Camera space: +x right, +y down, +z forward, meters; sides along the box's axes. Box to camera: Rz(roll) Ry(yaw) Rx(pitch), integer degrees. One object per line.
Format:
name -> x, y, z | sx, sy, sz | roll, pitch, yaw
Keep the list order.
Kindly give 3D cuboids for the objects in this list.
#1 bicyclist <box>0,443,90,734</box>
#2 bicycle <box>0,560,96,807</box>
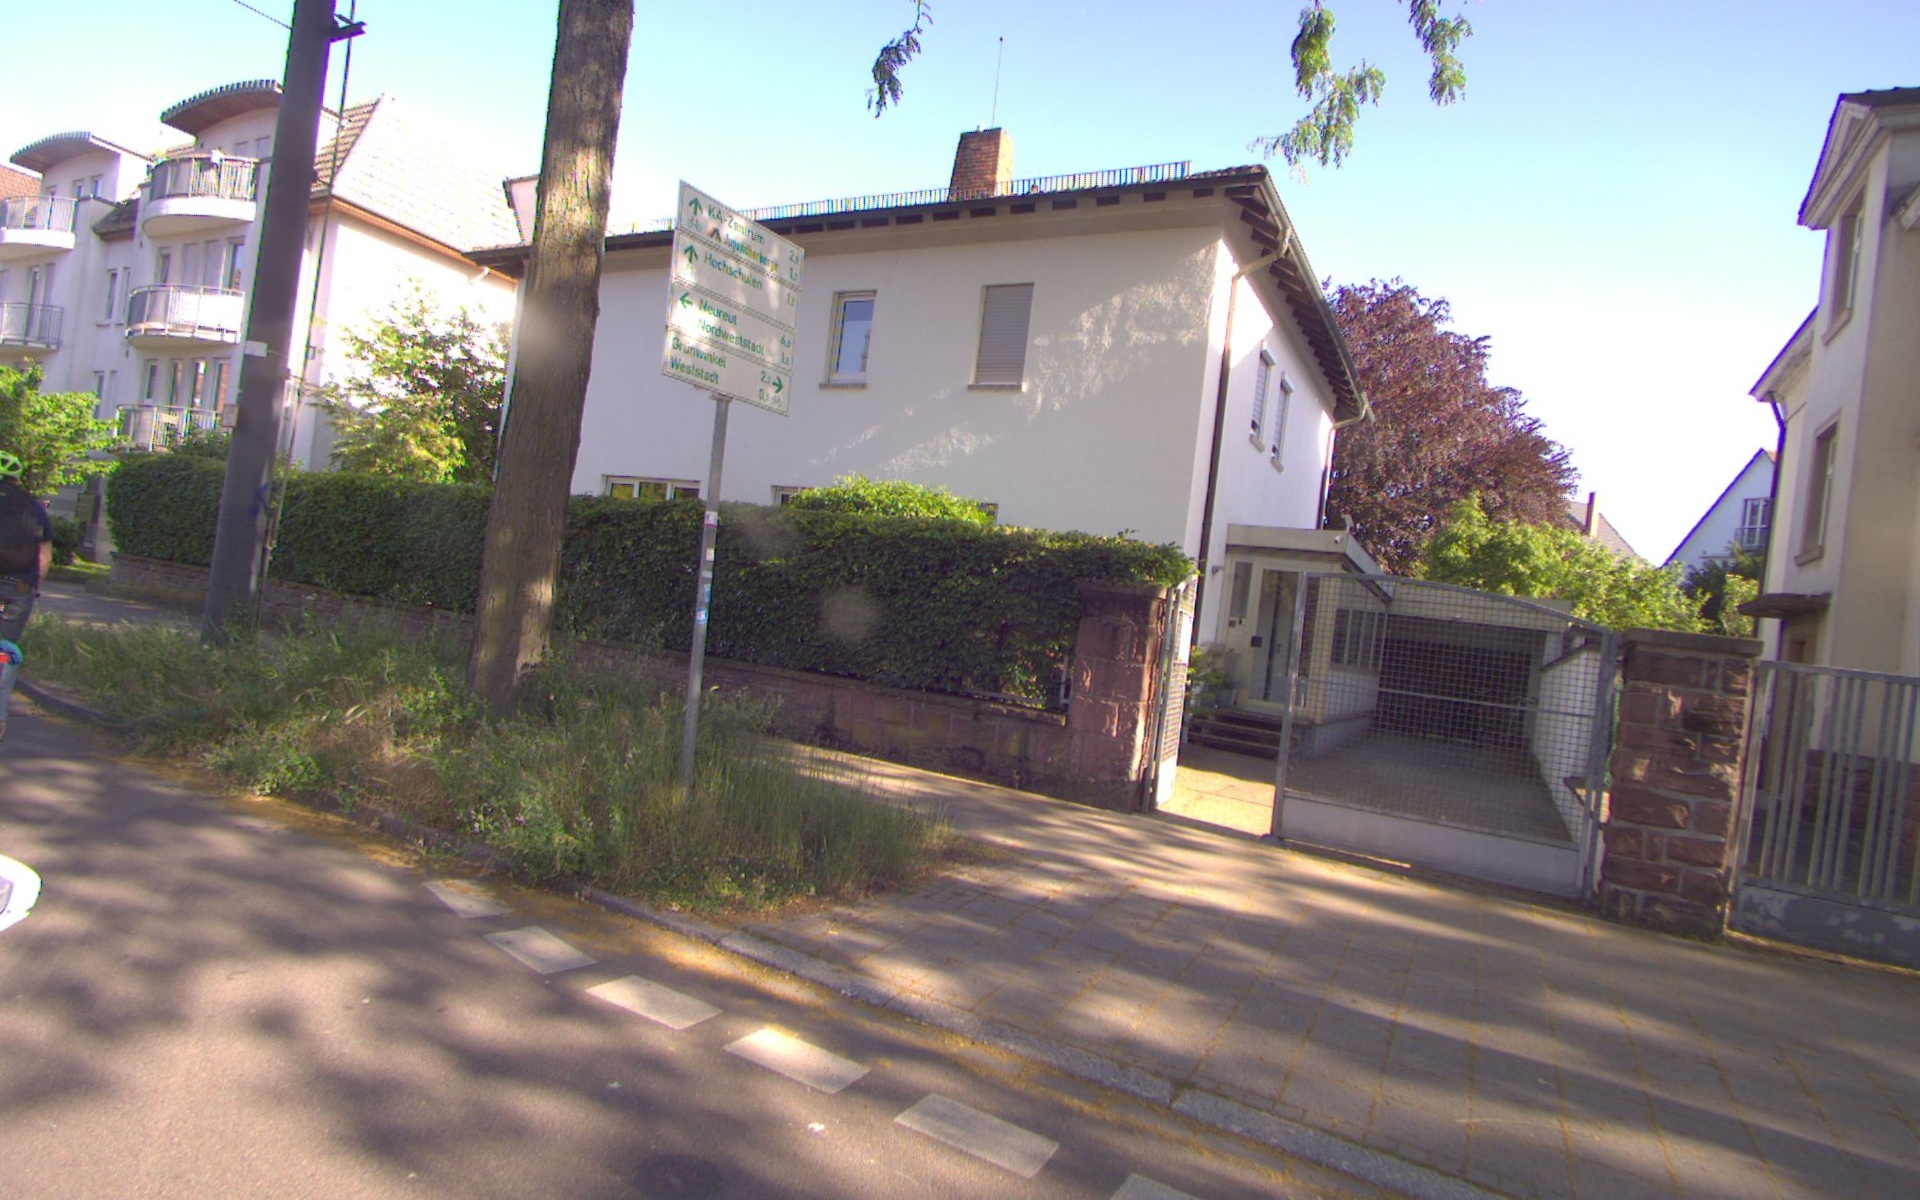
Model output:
bicyclist -> -5.450, -0.105, 5.473 | 1.096, 1.505, 0.645 | 6, -1, 32
bicycle -> -5.533, 0.360, 5.468 | 1.870, 1.157, 0.643 | 7, 0, 32
